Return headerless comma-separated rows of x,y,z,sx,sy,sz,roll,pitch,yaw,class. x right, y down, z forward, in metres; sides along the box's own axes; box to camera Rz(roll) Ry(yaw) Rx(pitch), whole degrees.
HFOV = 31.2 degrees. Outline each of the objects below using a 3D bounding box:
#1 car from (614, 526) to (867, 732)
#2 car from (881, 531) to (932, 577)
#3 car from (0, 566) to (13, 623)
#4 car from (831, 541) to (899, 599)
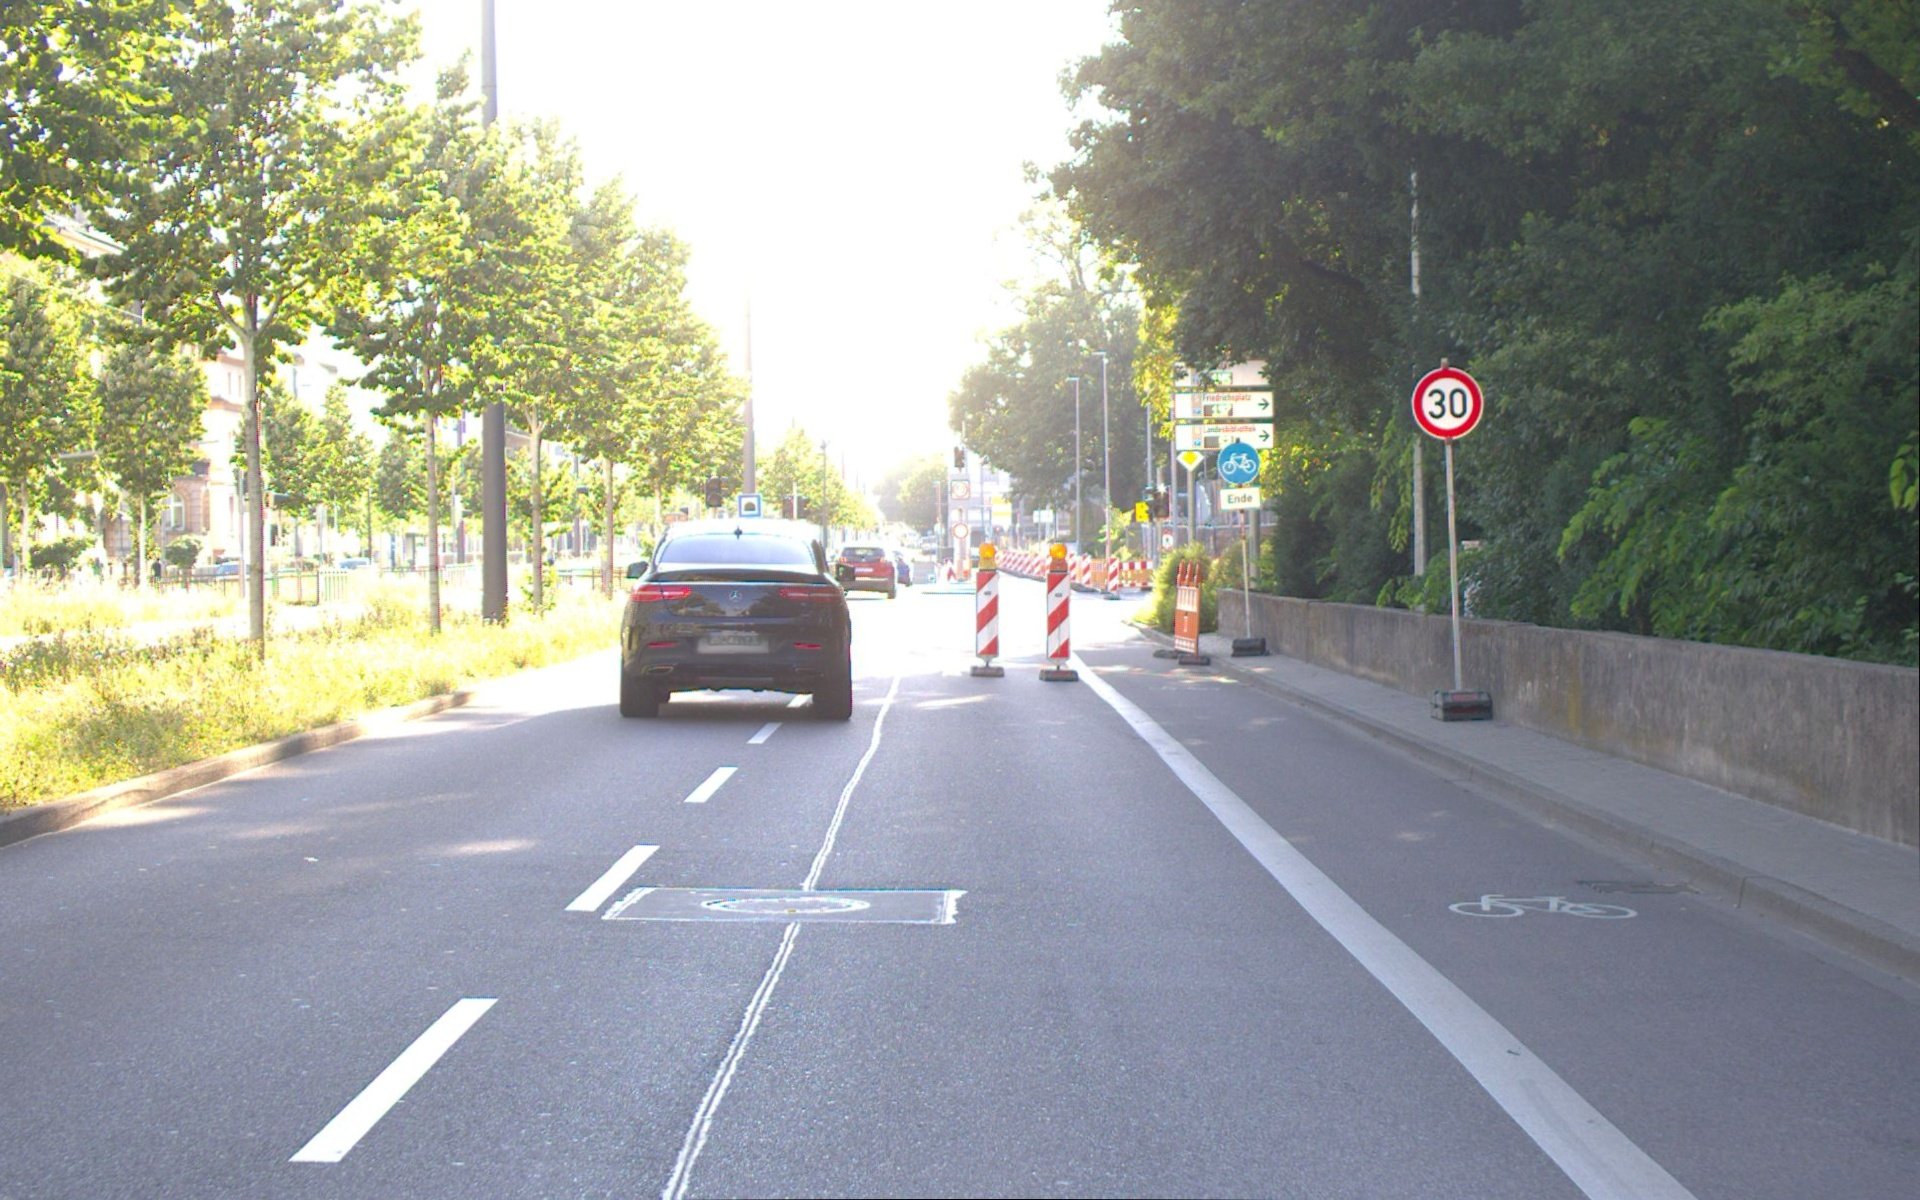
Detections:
-2.035,0.207,30.838,1.993,1.728,4.001,0,1,-7,car
-1.931,-1.660,123.360,1.767,1.598,3.773,-1,1,-1,car
-26.552,-0.125,90.796,1.886,1.509,4.000,0,1,2,car
-2.716,-0.865,98.674,1.885,1.575,4.001,0,2,-1,car
